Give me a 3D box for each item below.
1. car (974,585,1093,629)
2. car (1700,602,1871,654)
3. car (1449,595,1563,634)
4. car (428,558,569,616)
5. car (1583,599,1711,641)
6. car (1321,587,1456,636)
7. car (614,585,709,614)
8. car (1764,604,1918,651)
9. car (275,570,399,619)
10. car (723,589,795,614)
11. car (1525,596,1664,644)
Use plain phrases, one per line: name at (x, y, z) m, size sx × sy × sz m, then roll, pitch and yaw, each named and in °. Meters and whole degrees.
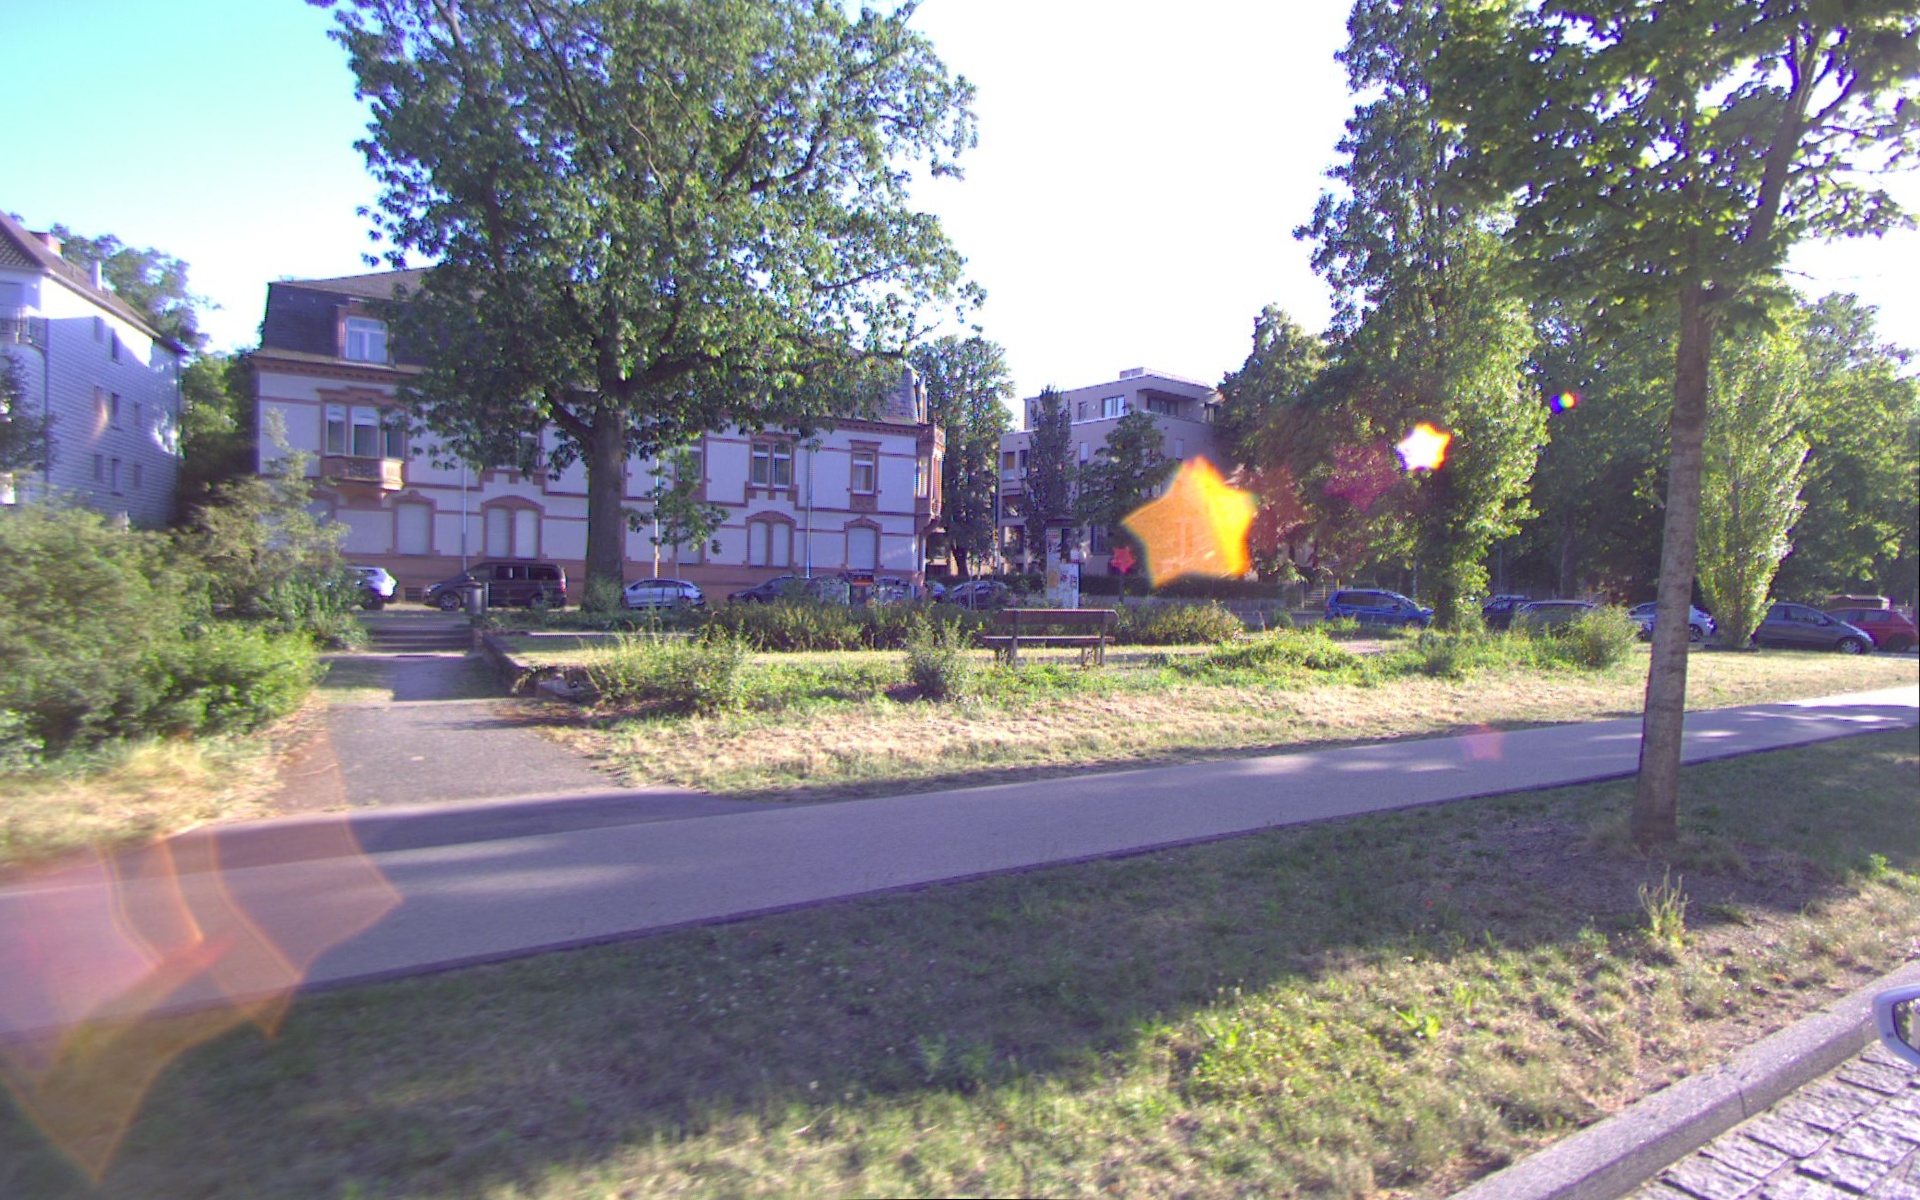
car at (2.116, 0.209, 28.773) m, size 3.057 × 1.175 × 1.522 m, roll 1°, pitch 1°, yaw -27°
car at (26.087, 0.853, 31.930) m, size 3.929 × 1.439 × 1.768 m, roll 2°, pitch 1°, yaw 31°
car at (22.454, 0.550, 41.339) m, size 3.934 × 1.439 × 1.766 m, roll 2°, pitch 1°, yaw 36°
car at (-17.828, -0.489, 38.924) m, size 4.893 × 2.120 × 1.413 m, roll 1°, pitch 1°, yaw -28°
car at (26.329, 0.719, 38.597) m, size 3.934 × 1.439 × 1.766 m, roll 2°, pitch 1°, yaw 36°
car at (16.440, 0.392, 38.623) m, size 4.471 × 1.709 × 1.765 m, roll 2°, pitch 1°, yaw 37°
car at (-12.448, -0.031, 41.911) m, size 3.616 × 1.134 × 1.460 m, roll 1°, pitch 1°, yaw -29°
car at (31.155, 0.935, 35.684) m, size 3.859 × 1.439 × 1.766 m, roll 2°, pitch 1°, yaw 34°
car at (-22.611, -0.192, 36.584) m, size 3.720 × 1.692 × 1.316 m, roll 1°, pitch 1°, yaw -28°
car at (-8.796, 0.068, 43.962) m, size 2.852 × 1.038 × 1.316 m, roll 1°, pitch 1°, yaw -27°
car at (21.854, 0.646, 34.695) m, size 3.931 × 1.439 × 1.767 m, roll 2°, pitch 1°, yaw 33°
